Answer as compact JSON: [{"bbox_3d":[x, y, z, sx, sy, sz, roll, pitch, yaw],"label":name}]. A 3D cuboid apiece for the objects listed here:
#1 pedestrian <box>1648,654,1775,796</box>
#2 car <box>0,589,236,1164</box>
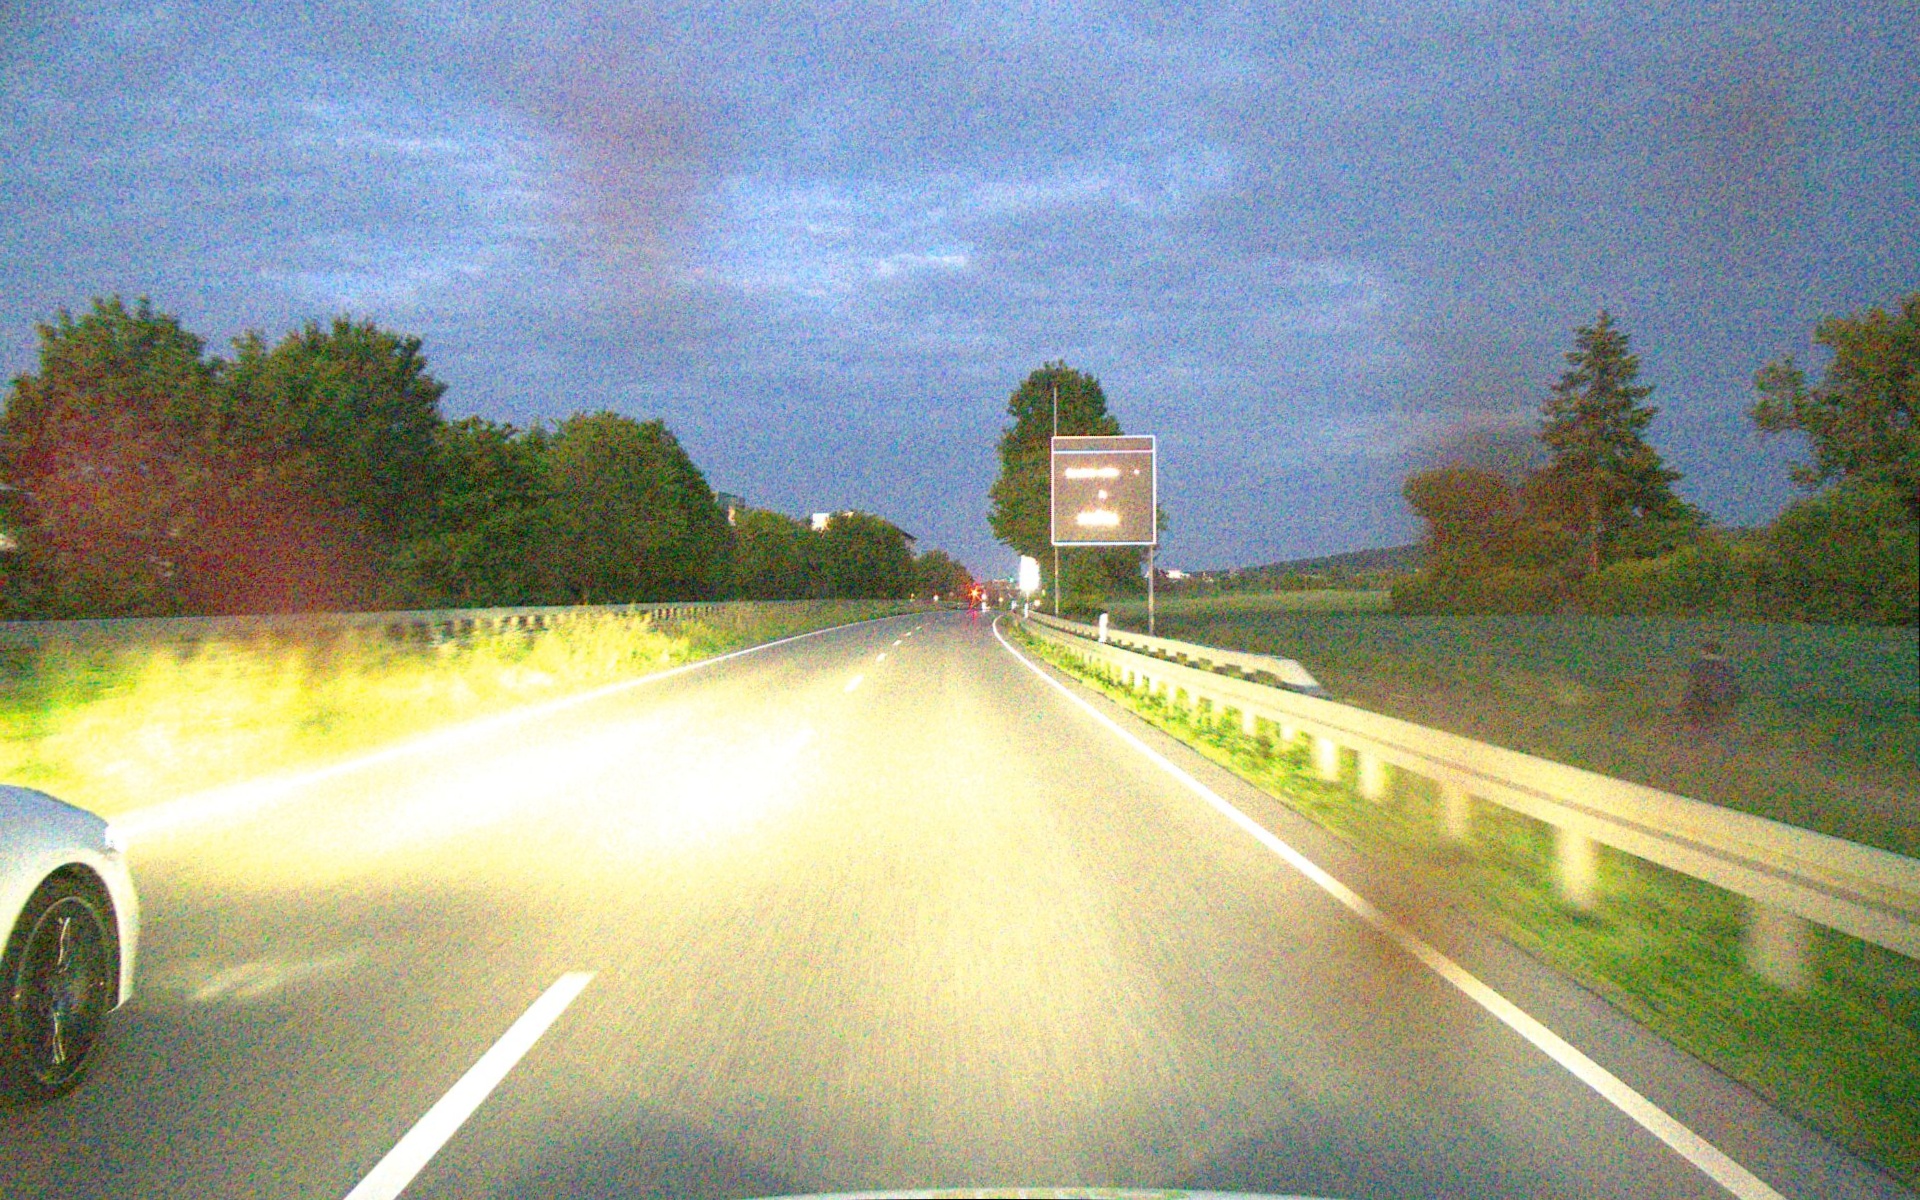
[{"bbox_3d":[9.303,1.528,20.522,1.040,1.672,1.118,1,0,-1],"label":"pedestrian"},{"bbox_3d":[-3.315,0.720,3.478,1.608,1.516,4.579,1,0,-1],"label":"car"}]
